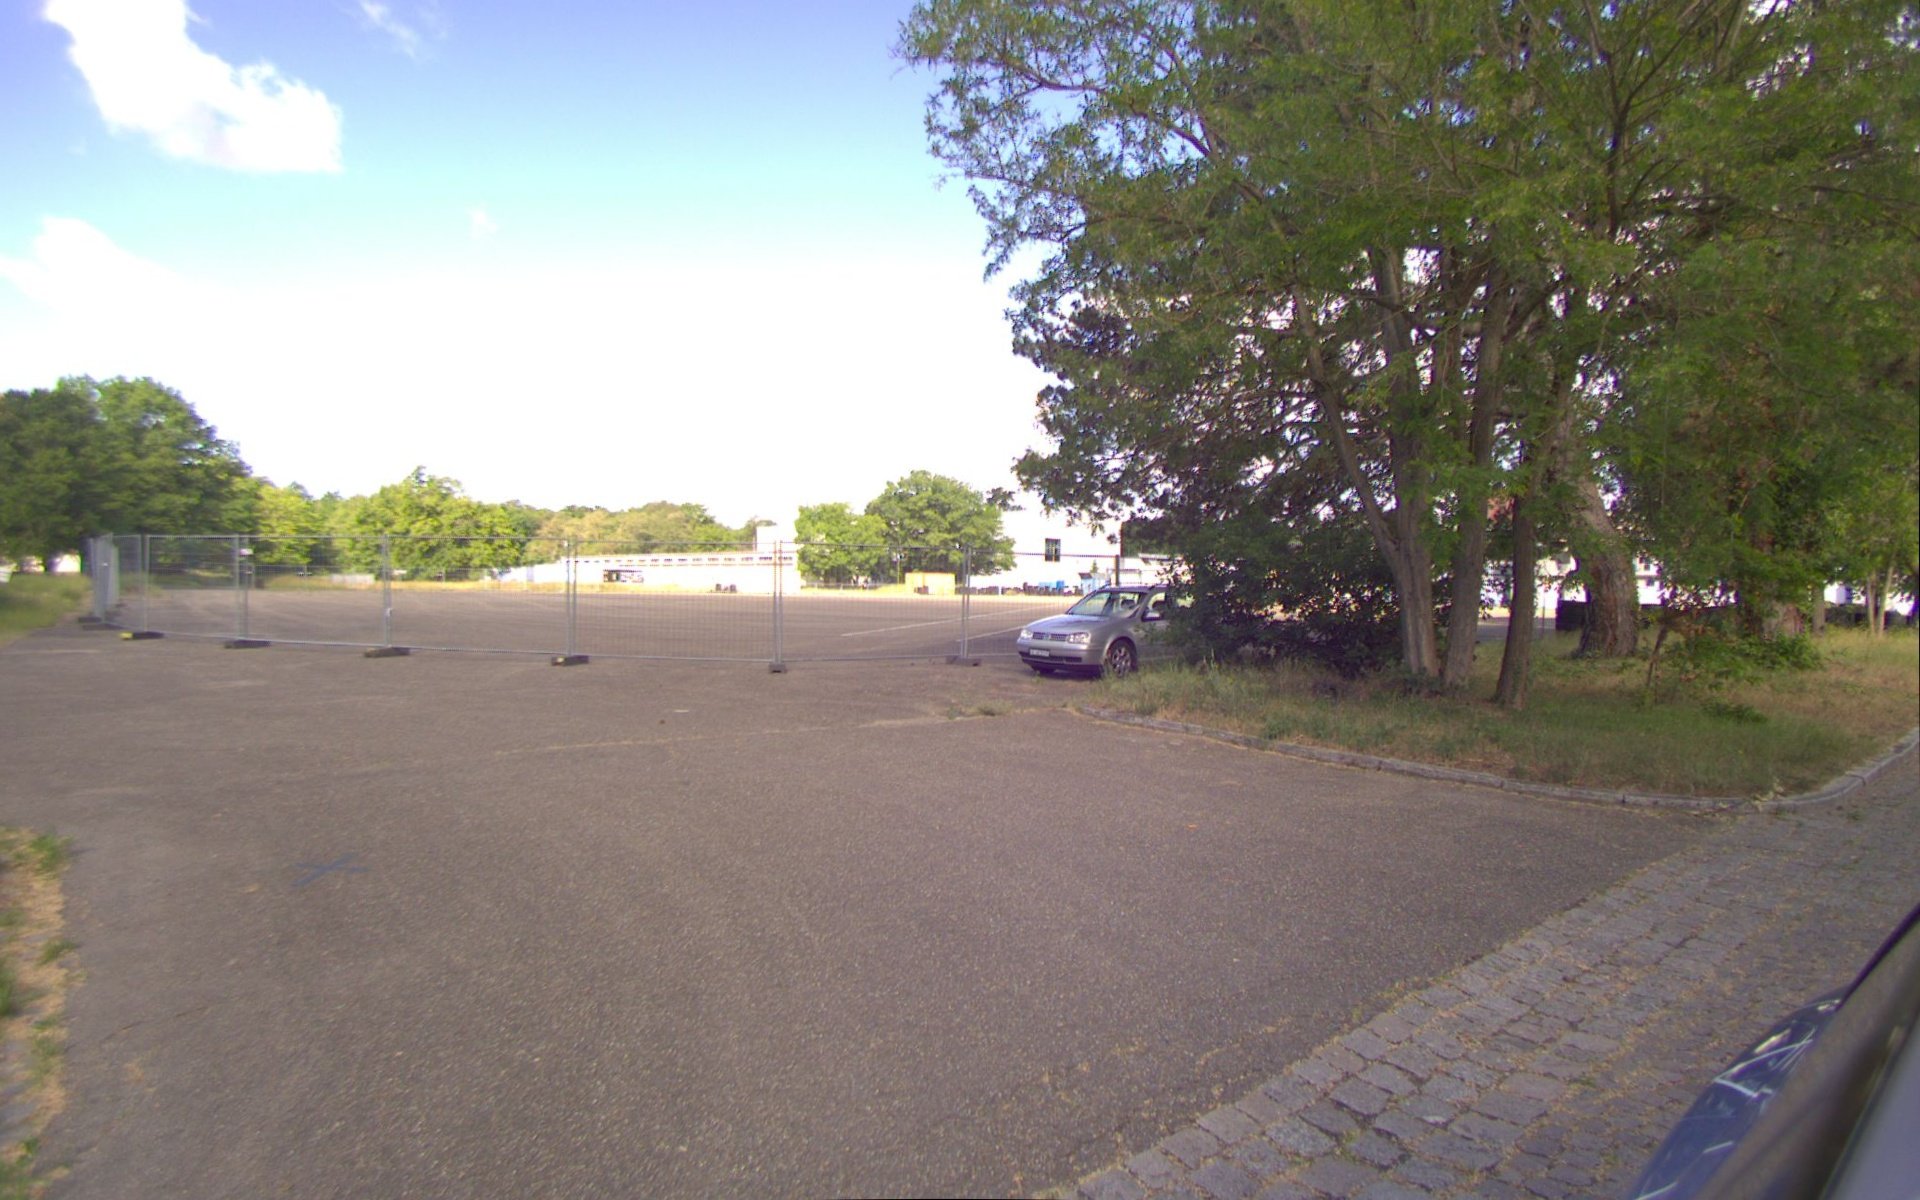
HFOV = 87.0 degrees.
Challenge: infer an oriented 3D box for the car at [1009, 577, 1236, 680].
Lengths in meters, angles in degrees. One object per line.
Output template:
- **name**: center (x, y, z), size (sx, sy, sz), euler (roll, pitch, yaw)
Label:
- **car**: center (2.723, 0.383, 16.418), size (3.920, 1.462, 1.576), euler (0, 1, -44)
